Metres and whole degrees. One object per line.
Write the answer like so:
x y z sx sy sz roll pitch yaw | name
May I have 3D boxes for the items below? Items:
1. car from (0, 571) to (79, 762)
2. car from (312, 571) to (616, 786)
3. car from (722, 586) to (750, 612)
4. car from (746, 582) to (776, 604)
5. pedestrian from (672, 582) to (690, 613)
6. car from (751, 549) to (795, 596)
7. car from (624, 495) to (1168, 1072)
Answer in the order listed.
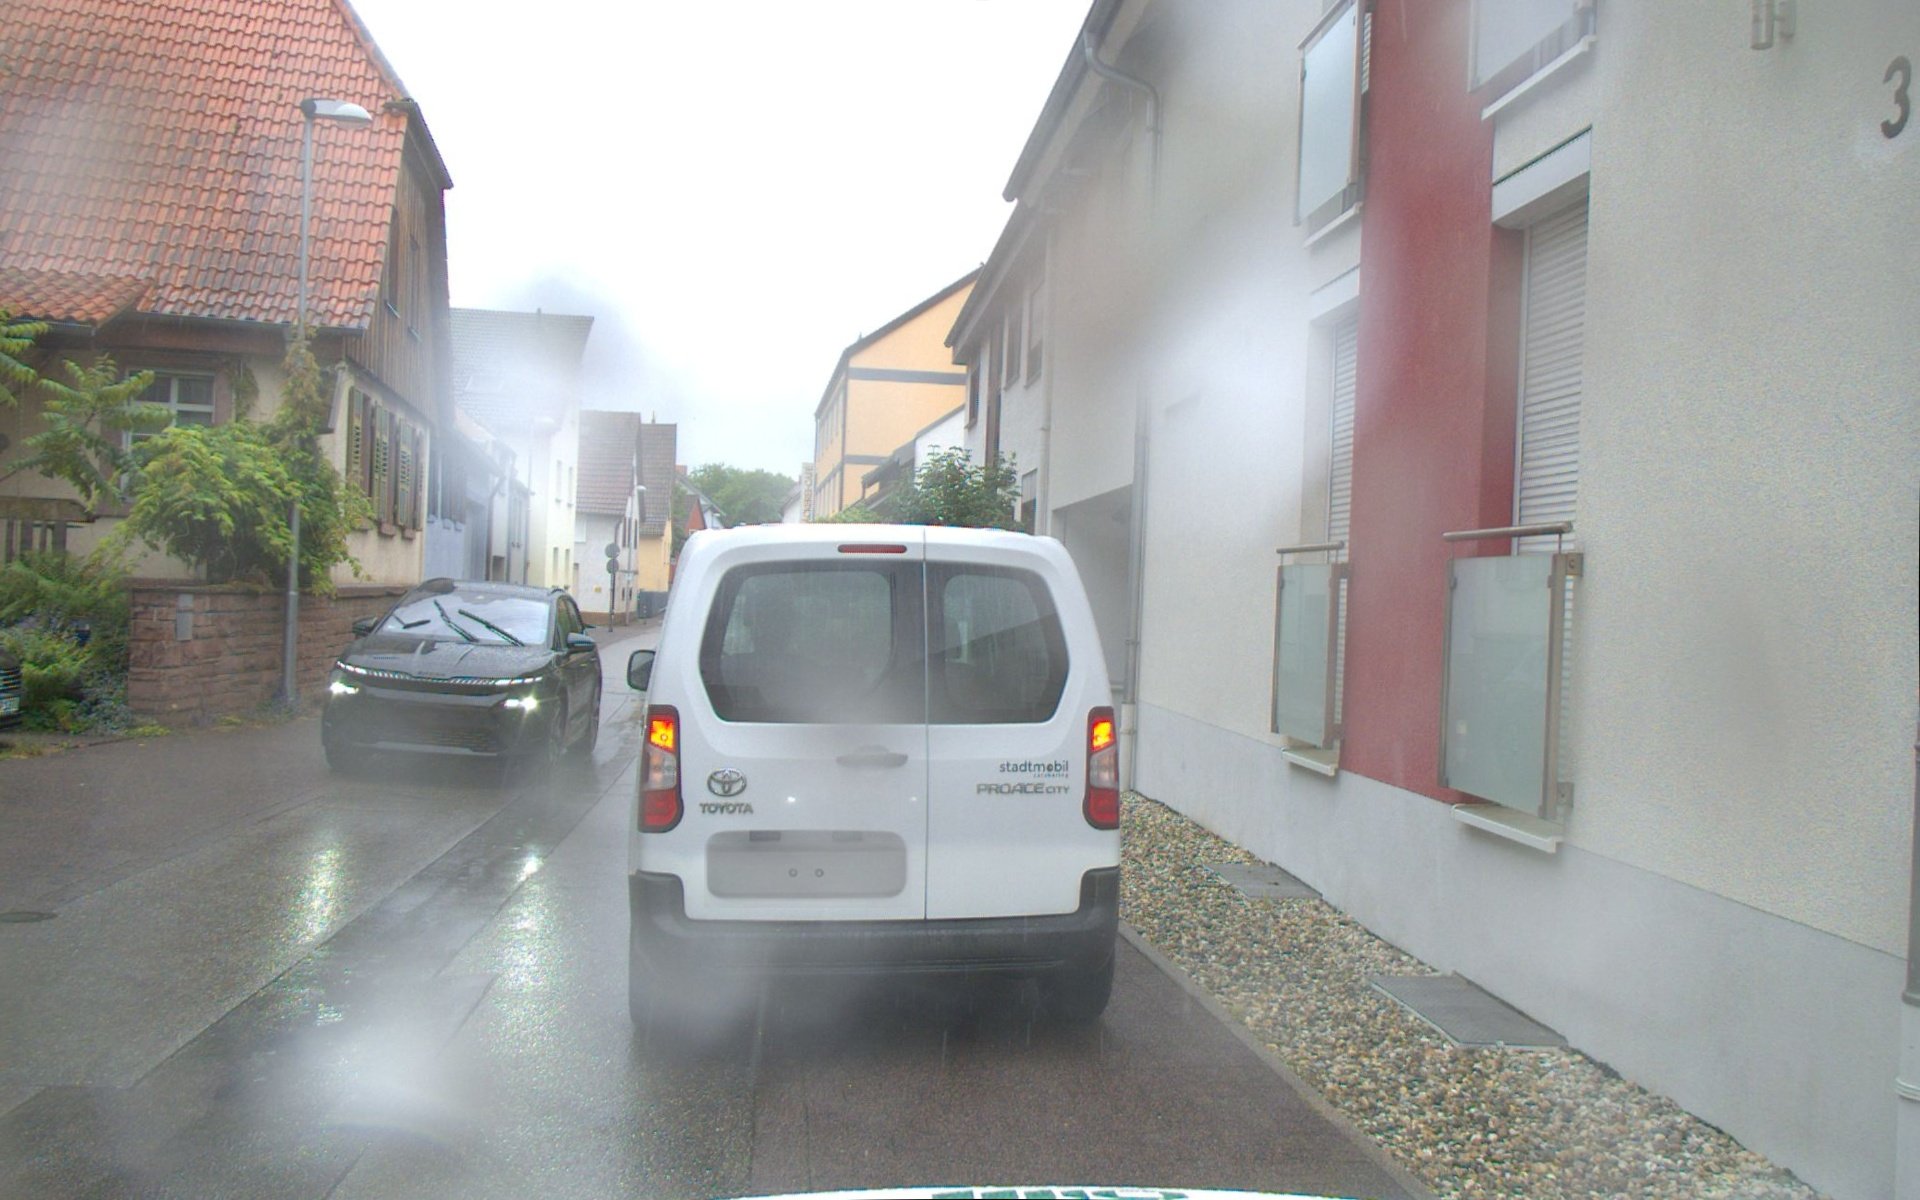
-9.398 0.313 12.947 3.908 1.450 1.735 7 -1 -1 | car
-4.229 0.608 14.781 1.797 1.583 4.233 2 0 -6 | car
-13.527 -0.068 99.804 1.532 1.503 3.990 1 0 -10 | car
-13.363 -0.464 110.897 1.747 1.419 3.990 1 0 -10 | car
-17.264 -0.149 102.405 1.031 1.926 0.875 1 -1 -9 | pedestrian
-8.578 -1.235 76.118 1.955 2.049 3.995 1 0 -6 | car
-0.491 0.595 7.318 1.742 1.811 3.991 1 0 -9 | car
